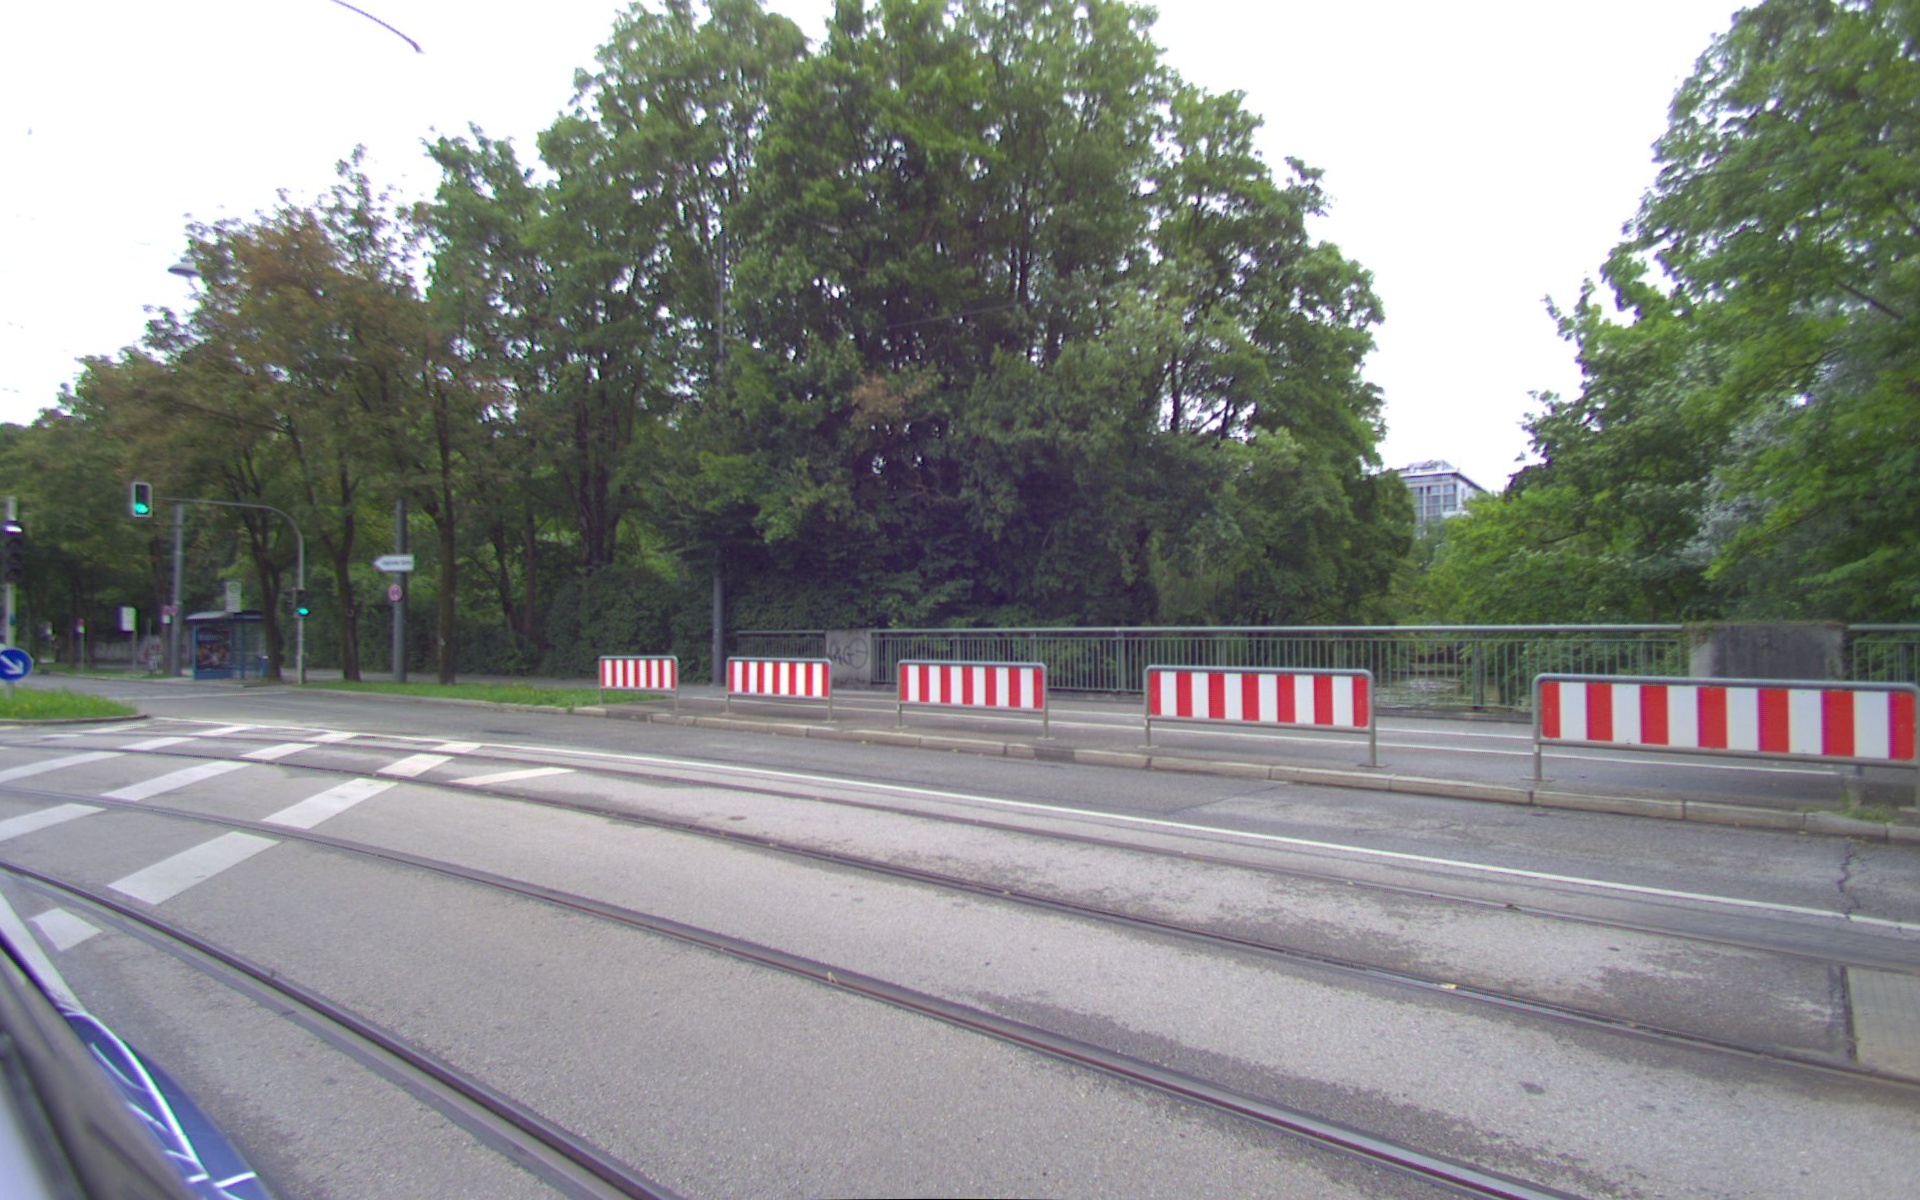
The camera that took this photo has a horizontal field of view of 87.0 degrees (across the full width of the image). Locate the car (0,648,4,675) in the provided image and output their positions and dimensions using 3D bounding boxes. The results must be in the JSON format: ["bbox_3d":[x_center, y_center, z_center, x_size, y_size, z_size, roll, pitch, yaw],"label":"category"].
[{"bbox_3d":[-64.524,4.078,66.625,3.996,1.739,1.864,-2,0,40],"label":"car"}]

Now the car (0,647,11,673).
[{"bbox_3d":[-60.348,3.723,62.638,3.996,1.552,1.864,-2,0,40],"label":"car"}]
